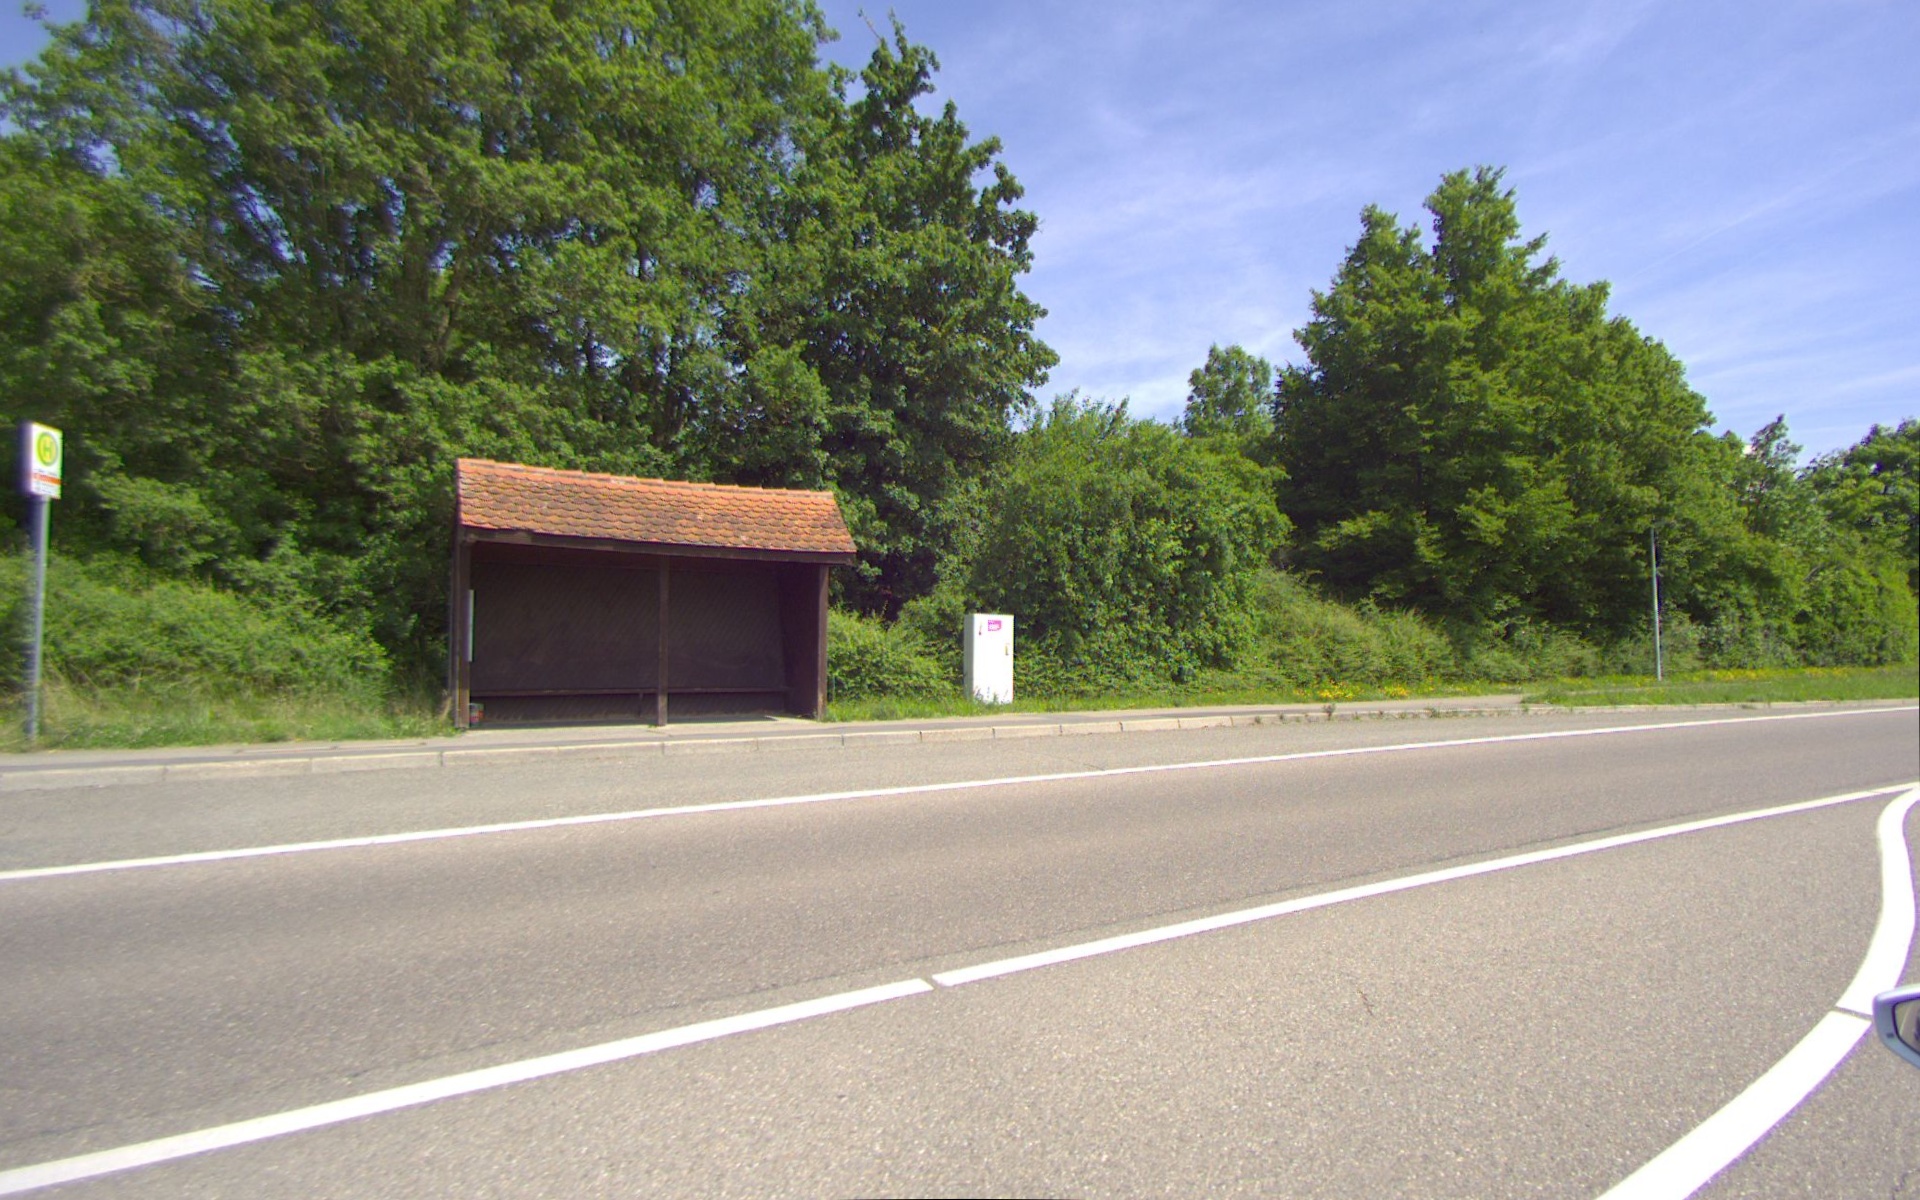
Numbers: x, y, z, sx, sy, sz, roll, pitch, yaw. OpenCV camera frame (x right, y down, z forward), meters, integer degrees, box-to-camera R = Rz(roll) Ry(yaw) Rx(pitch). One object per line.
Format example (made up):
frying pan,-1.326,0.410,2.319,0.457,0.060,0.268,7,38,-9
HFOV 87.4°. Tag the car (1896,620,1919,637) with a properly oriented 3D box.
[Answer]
car,88.837,2.645,93.433,3.962,1.572,1.979,1,-1,-37
